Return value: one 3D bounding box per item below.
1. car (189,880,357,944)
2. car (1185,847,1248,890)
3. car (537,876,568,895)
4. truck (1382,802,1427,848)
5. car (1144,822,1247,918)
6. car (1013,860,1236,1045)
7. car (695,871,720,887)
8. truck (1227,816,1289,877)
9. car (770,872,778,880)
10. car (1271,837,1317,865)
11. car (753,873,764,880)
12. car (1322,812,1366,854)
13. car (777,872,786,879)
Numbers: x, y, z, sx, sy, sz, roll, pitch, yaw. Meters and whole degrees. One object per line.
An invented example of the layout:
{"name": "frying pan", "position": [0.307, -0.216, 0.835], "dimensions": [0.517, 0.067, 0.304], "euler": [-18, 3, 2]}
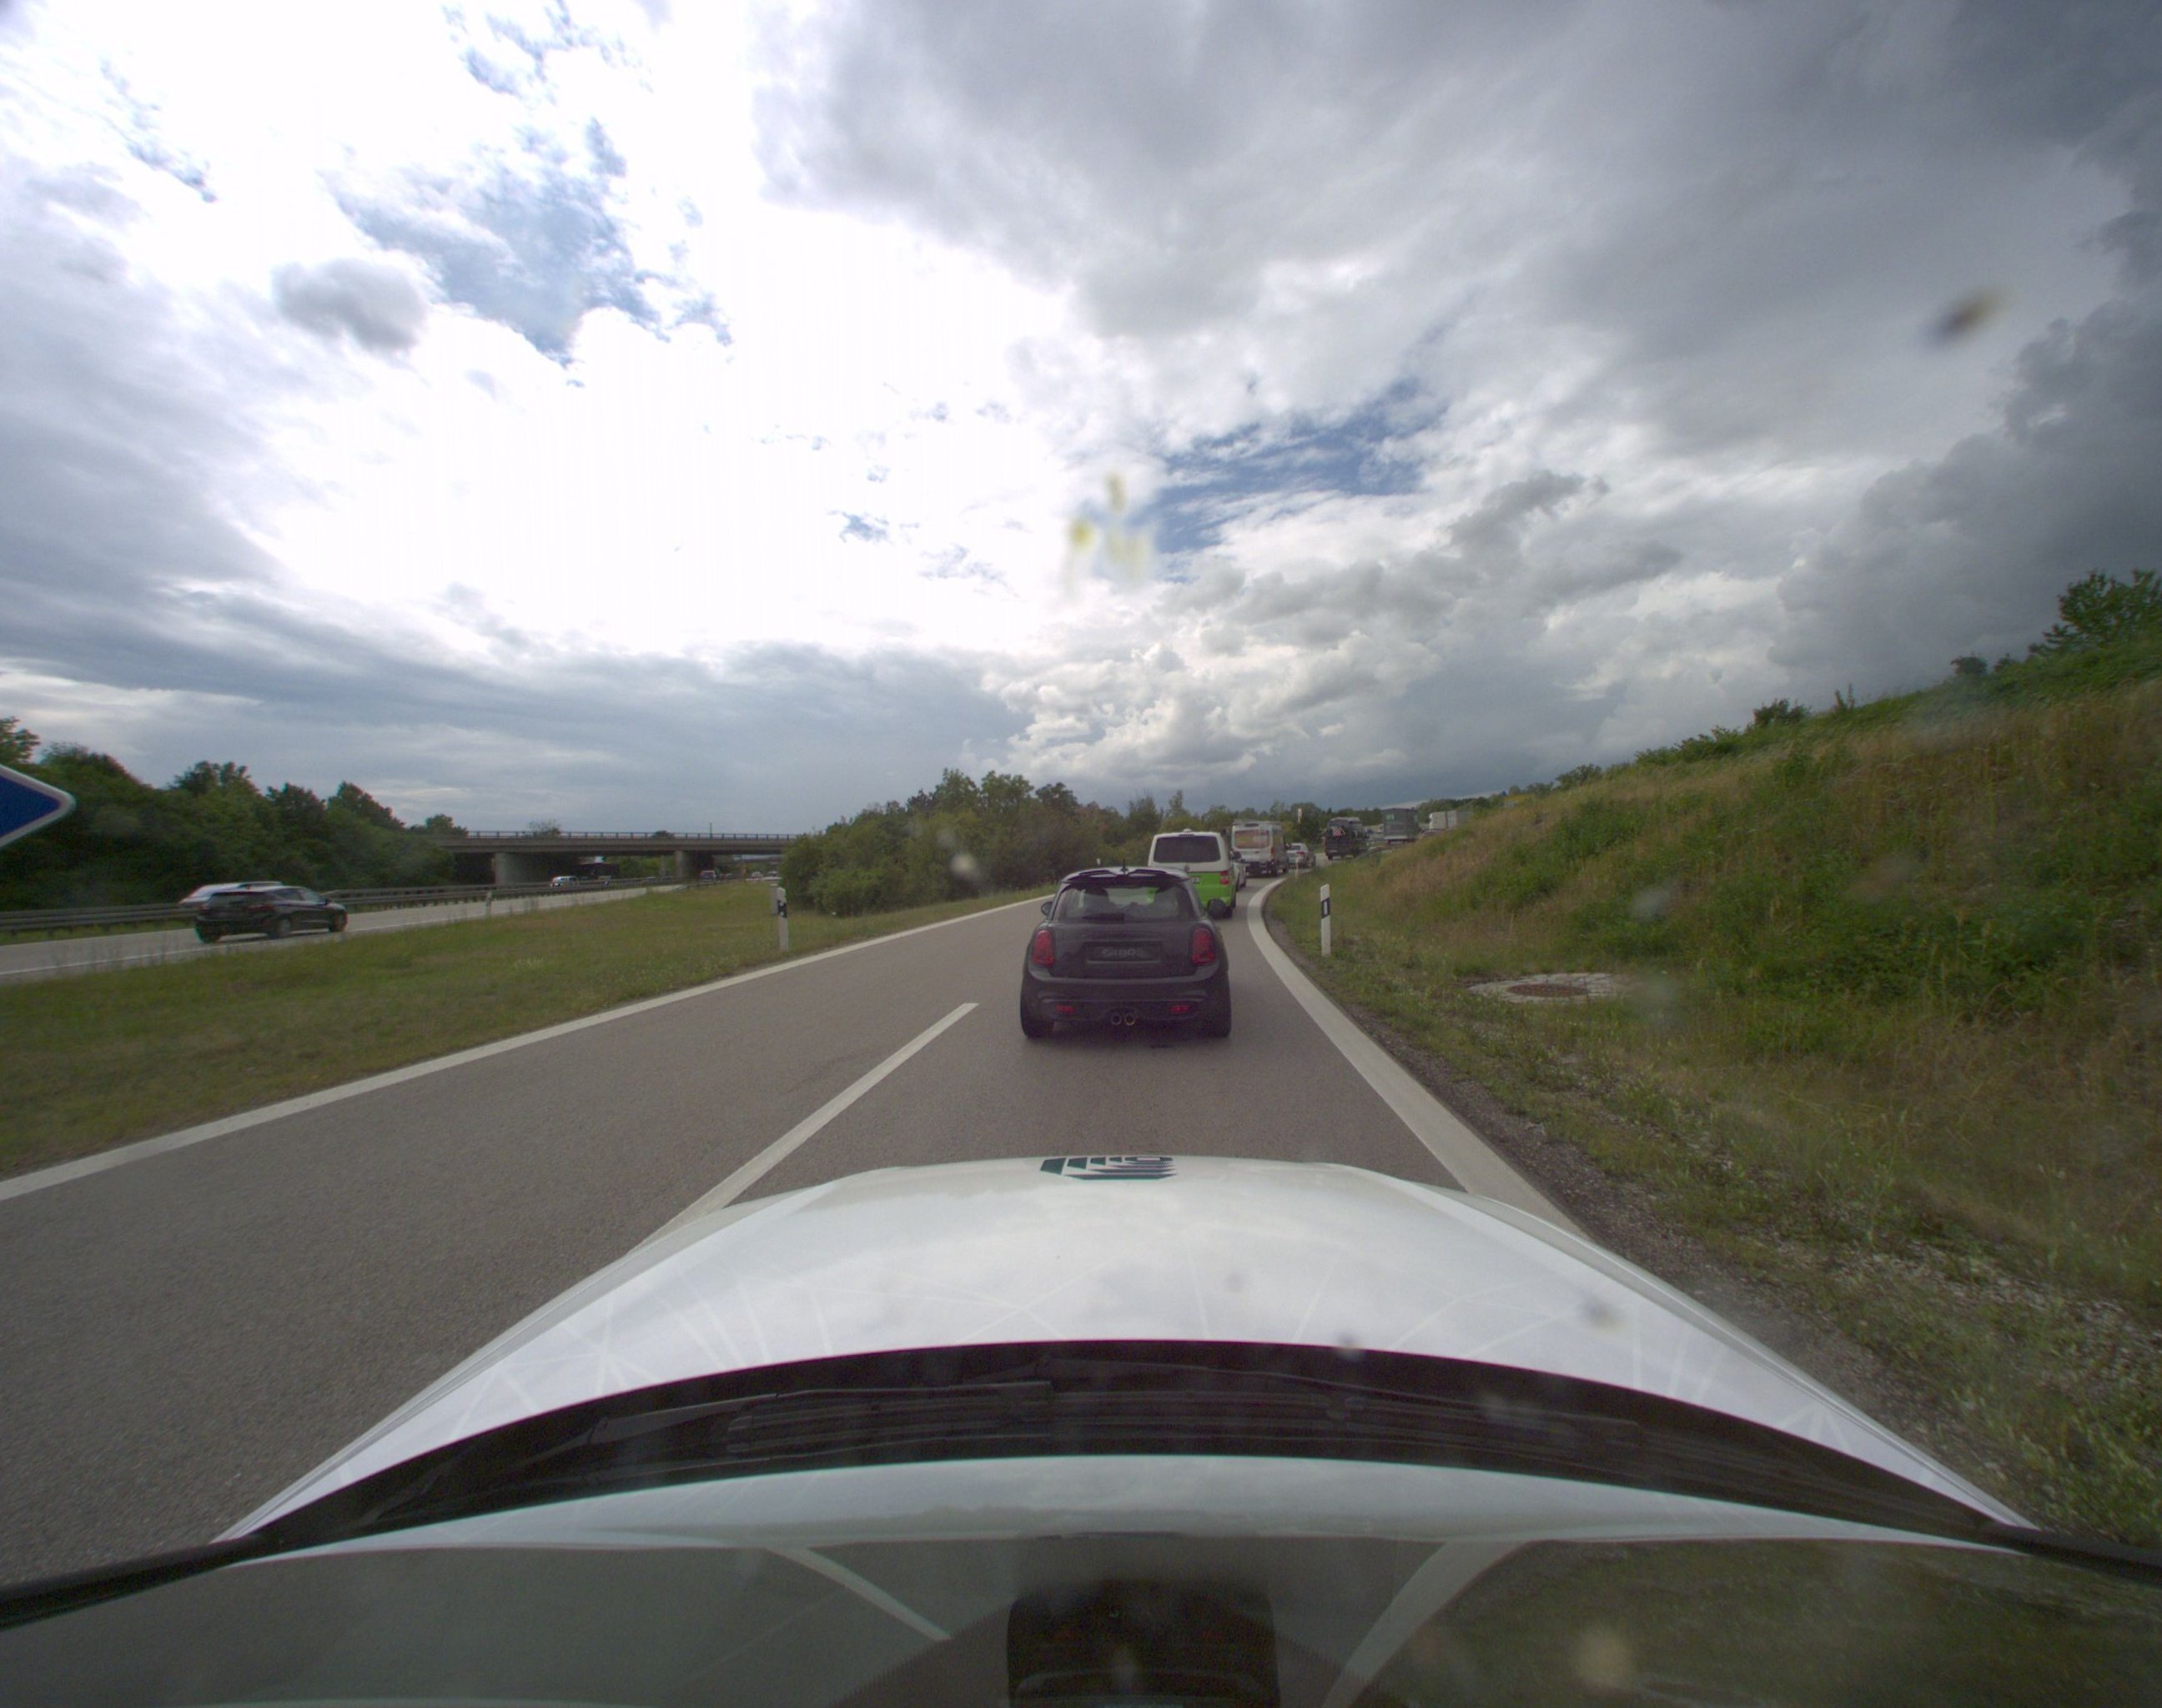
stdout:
{"name": "car", "position": [-22.823, 1.565, 23.227], "dimensions": [1.714, 1.555, 3.977], "euler": [-1, -1, -17]}
{"name": "car", "position": [4.951, 0.511, 29.365], "dimensions": [1.749, 1.399, 3.741], "euler": [-2, -1, 16]}
{"name": "car", "position": [-60.201, 3.582, 92.813], "dimensions": [2.000, 2.014, 3.972], "euler": [-2, -1, -20]}
{"name": "truck", "position": [29.794, -2.566, 74.928], "dimensions": [2.207, 3.907, 6.054], "euler": [-2, -2, 38]}
{"name": "car", "position": [2.818, 0.358, 19.264], "dimensions": [1.770, 2.014, 4.017], "euler": [-1, -1, 17]}
{"name": "car", "position": [0.574, 0.788, 8.183], "dimensions": [1.717, 1.414, 3.733], "euler": [-1, -1, 8]}
{"name": "car", "position": [-45.533, 3.017, 99.406], "dimensions": [1.997, 1.761, 4.897], "euler": [-1, -1, -15]}
{"name": "truck", "position": [8.558, -0.345, 39.033], "dimensions": [2.160, 2.659, 5.135], "euler": [-2, 0, 20]}
{"name": "car", "position": [-84.746, 6.129, 224.818], "dimensions": [2.000, 2.014, 3.973], "euler": [0, -2, -20]}
{"name": "car", "position": [12.323, -0.159, 46.914], "dimensions": [1.849, 1.510, 4.022], "euler": [-2, -1, 24]}
{"name": "car", "position": [-72.083, 5.080, 182.178], "dimensions": [1.841, 1.453, 4.352], "euler": [-2, -1, -18]}
{"name": "car", "position": [18.304, -1.414, 56.626], "dimensions": [2.085, 2.796, 4.025], "euler": [-1, -1, 30]}
{"name": "car", "position": [-73.770, 5.343, 200.625], "dimensions": [1.722, 1.519, 3.975], "euler": [-2, -1, -18]}
